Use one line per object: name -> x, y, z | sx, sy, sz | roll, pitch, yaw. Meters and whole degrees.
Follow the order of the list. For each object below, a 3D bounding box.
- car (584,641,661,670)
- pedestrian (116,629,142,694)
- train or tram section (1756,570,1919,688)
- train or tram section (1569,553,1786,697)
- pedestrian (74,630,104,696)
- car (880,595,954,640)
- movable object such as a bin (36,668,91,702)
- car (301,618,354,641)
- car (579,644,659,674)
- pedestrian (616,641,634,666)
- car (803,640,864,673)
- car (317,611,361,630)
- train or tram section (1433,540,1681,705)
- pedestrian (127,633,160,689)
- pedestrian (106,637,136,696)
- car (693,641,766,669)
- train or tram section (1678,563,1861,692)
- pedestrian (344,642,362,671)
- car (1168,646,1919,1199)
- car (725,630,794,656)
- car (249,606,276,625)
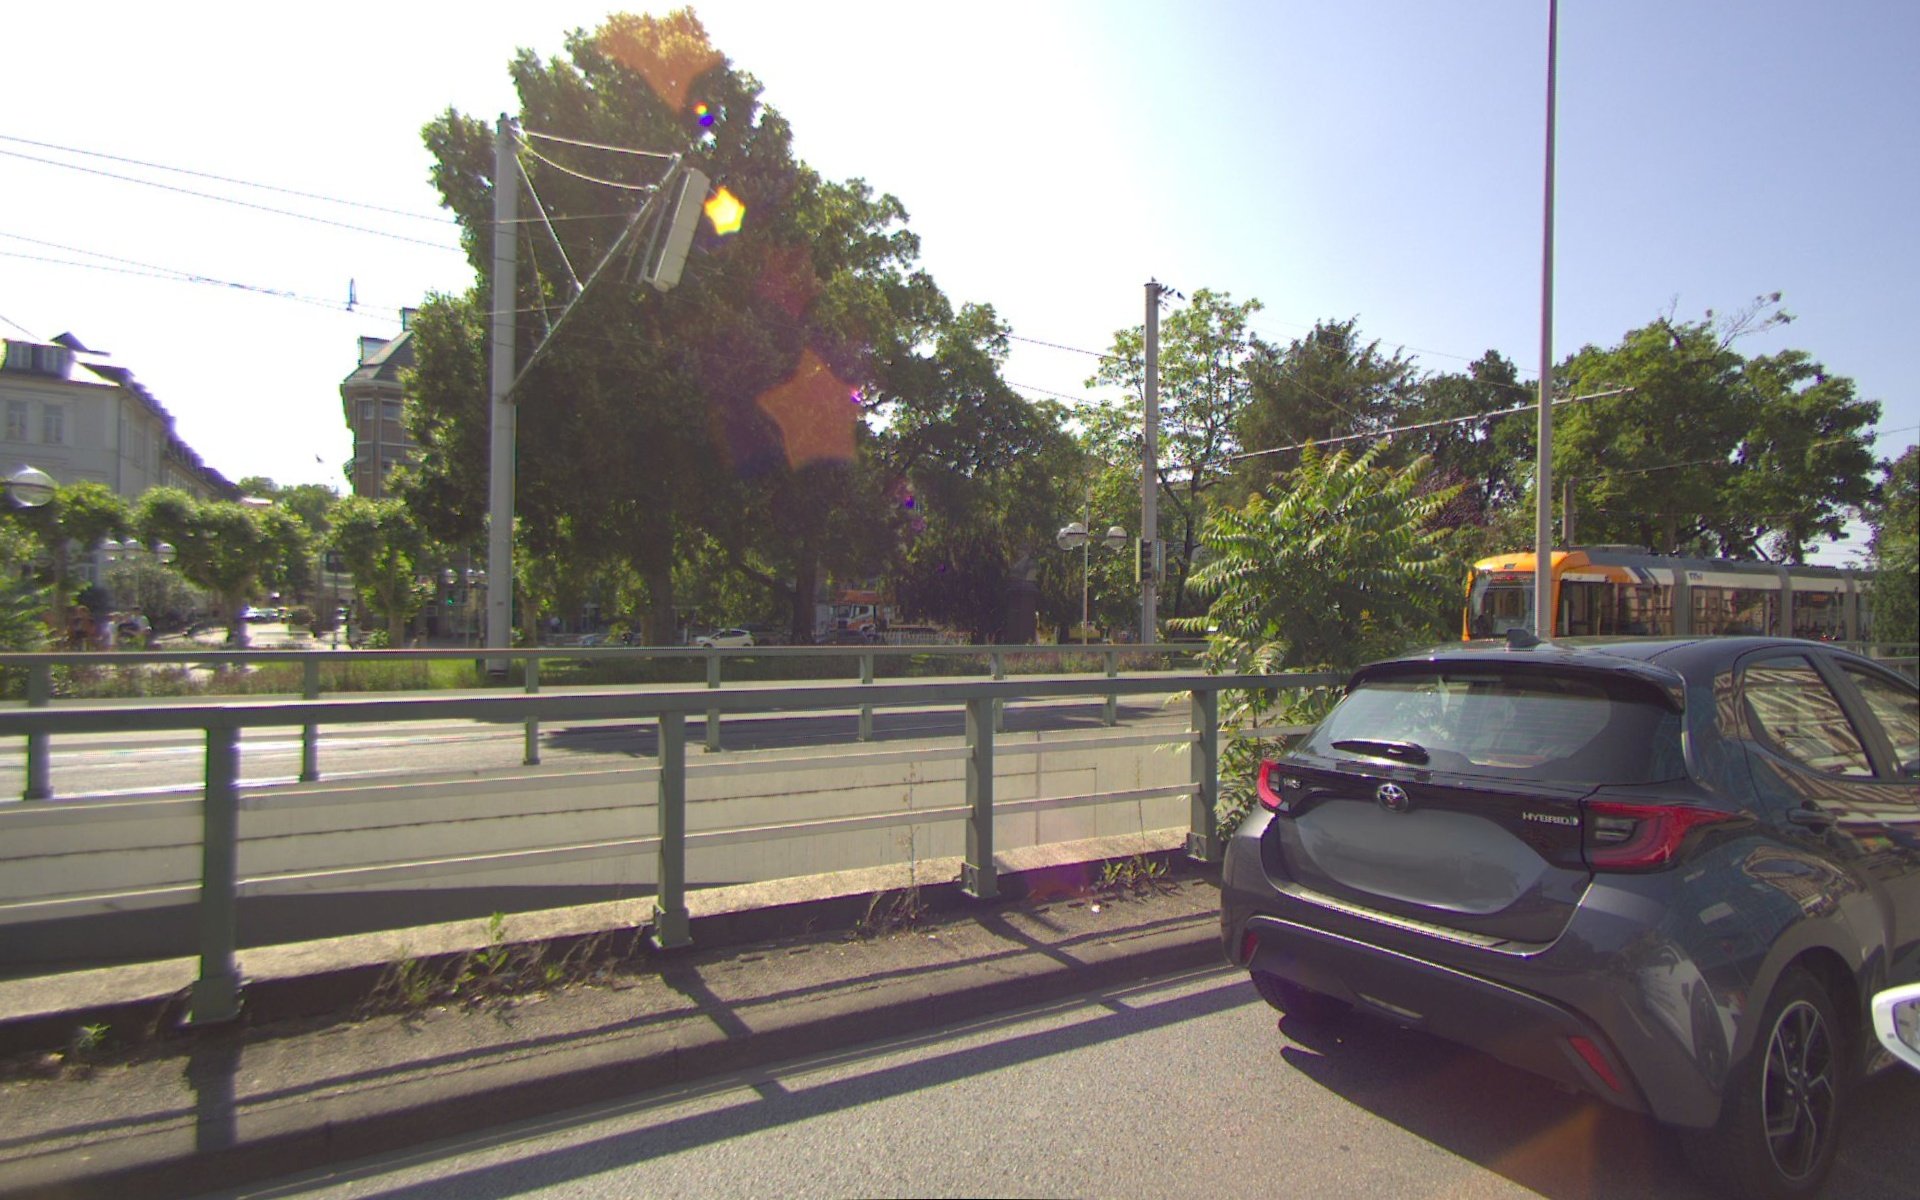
car -> -19.988, 3.245, 59.505 | 3.961, 1.528, 1.743 | 1, 1, -36
pedestrian -> -21.167, 1.562, 25.597 | 0.490, 1.630, 0.410 | 1, -3, -39
train or tram section -> 29.975, 0.931, 33.834 | 6.818, 3.629, 2.600 | 1, 1, -31
train or tram section -> 19.937, 0.666, 27.855 | 6.032, 3.629, 2.600 | 1, 1, -31
pedestrian -> -21.751, 1.562, 25.080 | 0.460, 1.630, 0.449 | 0, -3, -30
car -> -3.350, 1.350, 78.070 | 5.358, 3.360, 2.116 | 1, 1, -31
movable object such as a bin -> -21.378, 2.018, 23.975 | 0.790, 0.764, 0.903 | 0, -3, -29
car -> -57.572, 2.699, 91.477 | 3.953, 1.940, 1.984 | 1, 1, -30
car -> -19.297, 3.312, 56.929 | 3.961, 1.528, 1.743 | 1, 1, -36
pedestrian -> -17.763, 2.833, 53.309 | 0.655, 1.279, 0.744 | 1, -3, -42
car -> -8.630, 3.806, 68.380 | 3.601, 2.040, 1.984 | 1, 1, -31
car -> -67.312, 2.181, 109.019 | 3.953, 1.940, 1.984 | 1, 1, -30
train or tram section -> 14.774, 0.530, 24.778 | 6.032, 3.629, 2.600 | 1, 1, -31
pedestrian -> -22.349, 1.671, 27.503 | 0.655, 1.512, 0.521 | 1, -3, -38
pedestrian -> -23.543, 1.862, 28.199 | 0.615, 1.630, 0.488 | 1, -3, -40
car -> -13.913, 3.291, 60.732 | 3.961, 1.528, 1.743 | 1, 1, -36
train or tram section -> 24.789, 0.794, 30.737 | 5.295, 3.629, 2.600 | 1, 1, -31
pedestrian -> -27.528, 2.569, 45.575 | 0.569, 1.279, 0.526 | -3, -3, 39
car -> 2.896, 0.940, 3.966 | 3.955, 1.494, 1.768 | 2, -2, -31
car -> -12.823, 2.746, 64.413 | 3.961, 1.528, 1.743 | 1, 1, -36
car -> -71.315, 1.564, 102.698 | 1.977, 1.818, 3.966 | 1, 1, -31
